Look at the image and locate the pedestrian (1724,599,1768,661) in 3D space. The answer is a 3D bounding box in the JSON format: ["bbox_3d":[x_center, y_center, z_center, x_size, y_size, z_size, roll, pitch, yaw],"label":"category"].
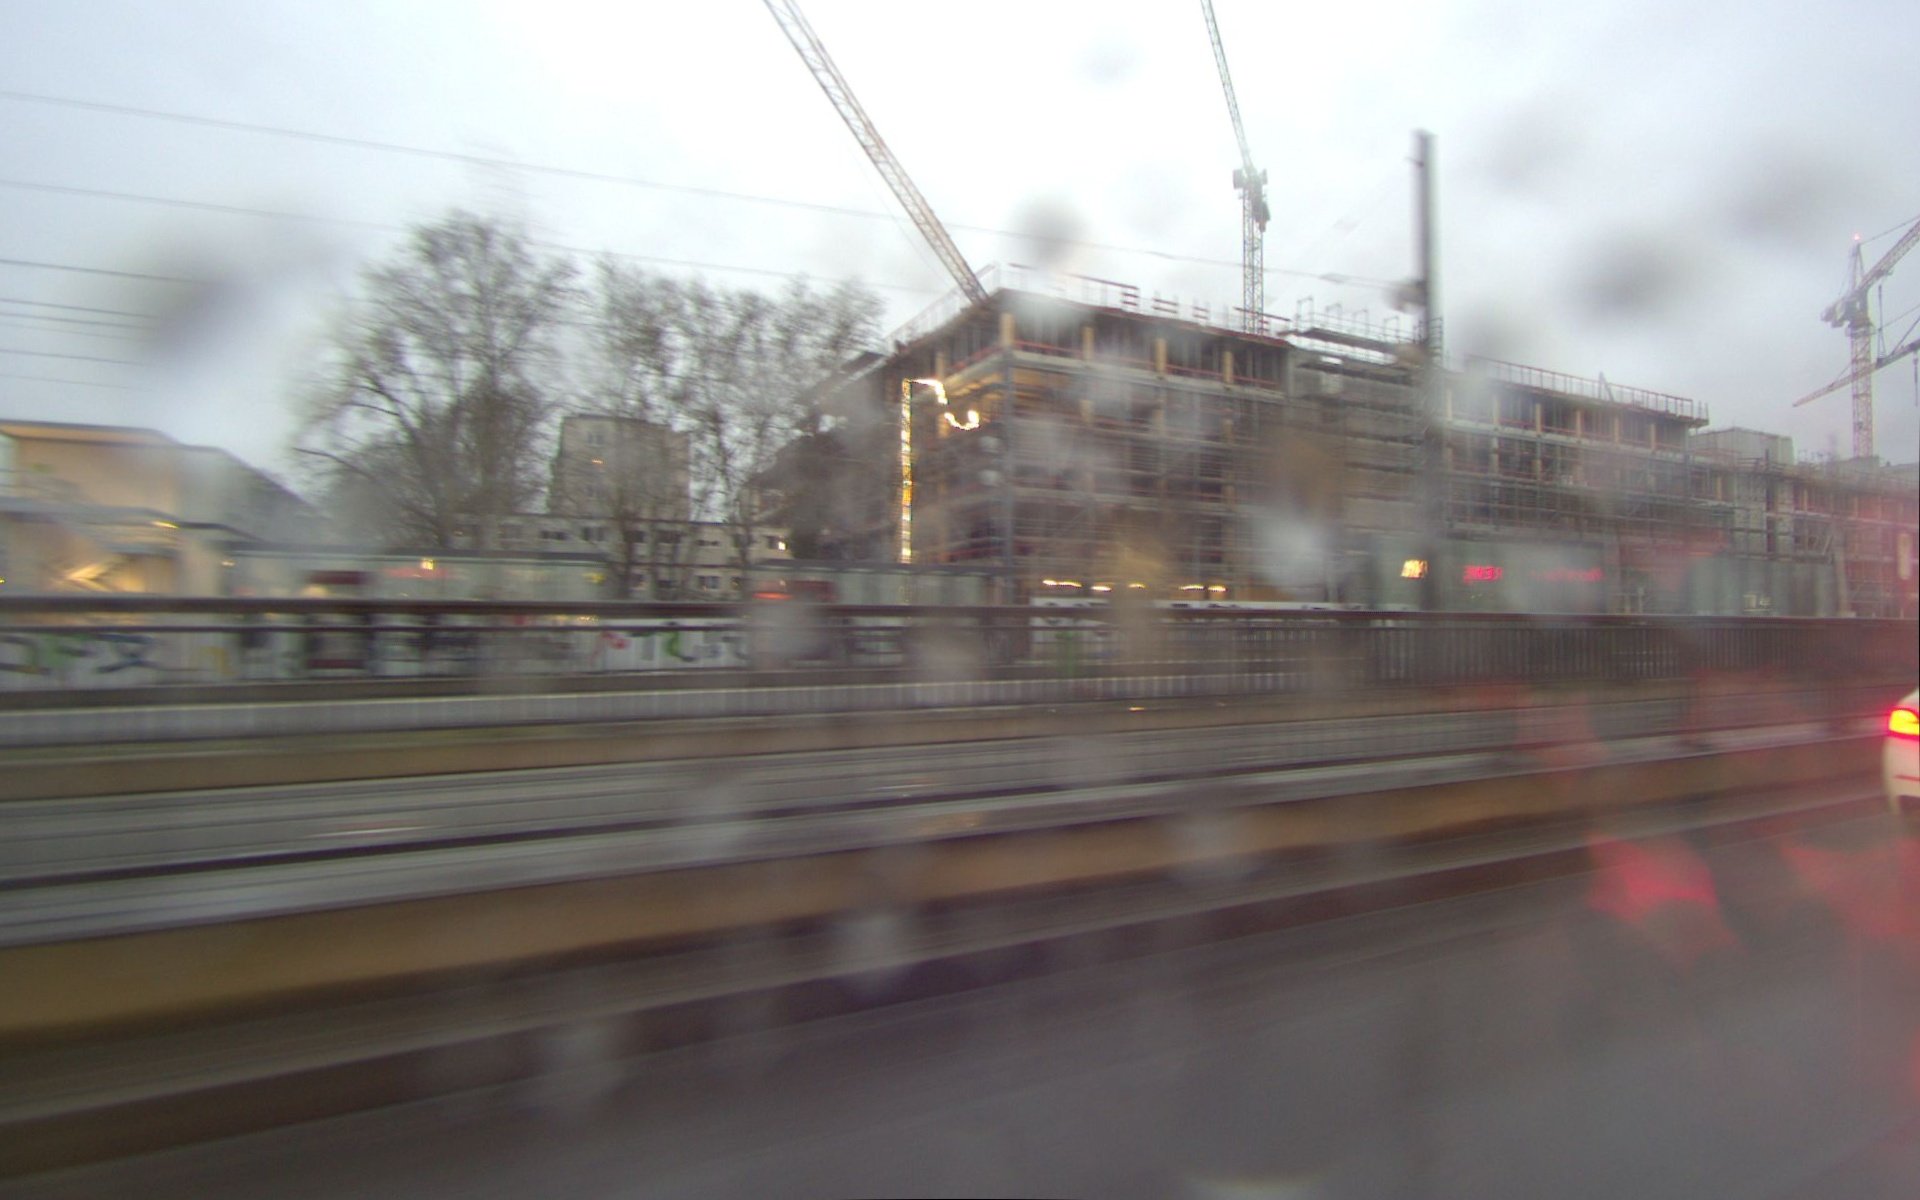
[{"bbox_3d":[20.116,0.770,25.705,0.728,1.571,0.584,0,0,-17],"label":"pedestrian"}]

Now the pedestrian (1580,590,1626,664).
[{"bbox_3d":[15.296,0.637,23.897,0.728,1.724,0.584,0,0,-17],"label":"pedestrian"}]

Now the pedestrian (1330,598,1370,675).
[{"bbox_3d":[8.087,0.752,20.843,0.571,1.588,0.544,0,0,-8],"label":"pedestrian"}]

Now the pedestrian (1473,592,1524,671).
[{"bbox_3d":[11.042,0.639,20.588,0.728,1.571,0.584,0,0,-17],"label":"pedestrian"}]

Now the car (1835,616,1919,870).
[{"bbox_3d":[8.007,0.866,6.631,4.886,1.485,1.844,1,-1,-29],"label":"car"}]

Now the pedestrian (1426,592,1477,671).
[{"bbox_3d":[9.856,0.626,20.160,0.728,1.571,0.584,0,0,-17],"label":"pedestrian"}]

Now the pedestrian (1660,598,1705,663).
[{"bbox_3d":[17.675,0.738,24.586,0.728,1.571,0.584,0,0,-17],"label":"pedestrian"}]
